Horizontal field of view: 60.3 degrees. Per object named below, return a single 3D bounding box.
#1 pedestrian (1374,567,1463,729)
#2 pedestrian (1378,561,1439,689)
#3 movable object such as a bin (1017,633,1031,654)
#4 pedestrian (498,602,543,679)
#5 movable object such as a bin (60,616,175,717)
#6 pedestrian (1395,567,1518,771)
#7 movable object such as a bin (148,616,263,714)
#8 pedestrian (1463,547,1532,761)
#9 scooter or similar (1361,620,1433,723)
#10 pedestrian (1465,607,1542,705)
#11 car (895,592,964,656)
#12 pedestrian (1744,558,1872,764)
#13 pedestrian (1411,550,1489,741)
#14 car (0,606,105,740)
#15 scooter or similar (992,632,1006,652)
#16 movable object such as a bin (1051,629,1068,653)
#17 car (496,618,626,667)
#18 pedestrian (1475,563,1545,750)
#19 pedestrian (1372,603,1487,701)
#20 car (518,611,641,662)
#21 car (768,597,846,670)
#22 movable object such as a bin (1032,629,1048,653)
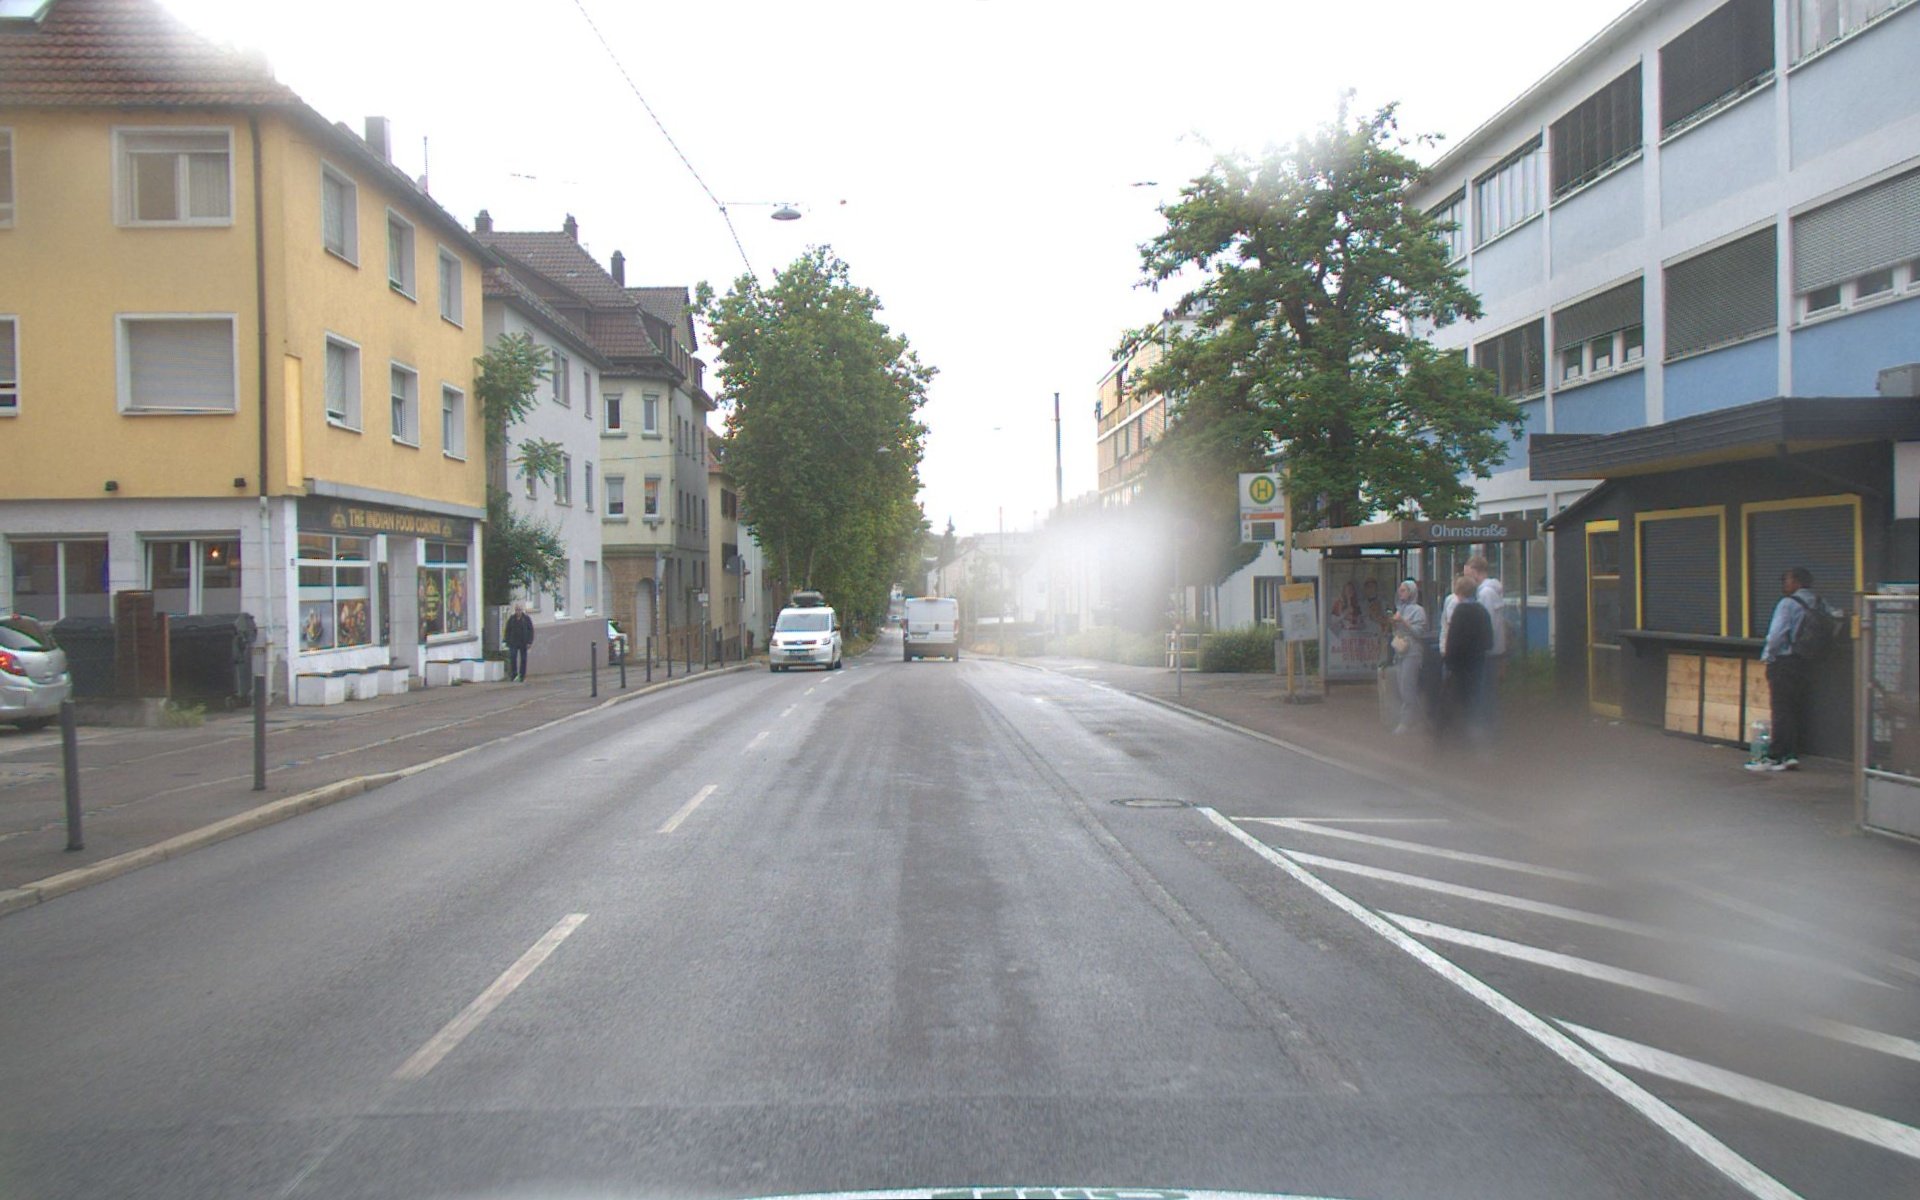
[{"bbox_3d":[5.209,0.536,18.839,0.648,1.772,0.828,-2,0,-7],"label":"pedestrian"},{"bbox_3d":[6.708,0.364,24.760,0.633,1.863,0.741,-2,0,-1],"label":"pedestrian"},{"bbox_3d":[3.087,2.099,79.544,0.607,0.953,0.686,-4,-1,-1],"label":"movable object such as a bin"},{"bbox_3d":[-9.980,0.918,37.595,0.799,1.709,0.992,0,-1,-4],"label":"pedestrian"},{"bbox_3d":[-12.629,0.978,24.825,1.221,1.465,0.983,0,0,-2],"label":"movable object such as a bin"},{"bbox_3d":[4.437,0.608,14.797,0.629,1.740,0.740,-3,0,-35],"label":"pedestrian"},{"bbox_3d":[-11.337,0.958,24.896,1.275,1.426,0.983,0,0,-2],"label":"movable object such as a bin"},{"bbox_3d":[4.949,0.483,15.208,0.476,1.907,0.633,-3,0,20],"label":"pedestrian"},{"bbox_3d":[5.157,0.833,19.541,0.606,1.160,0.567,-2,0,-7],"label":"scooter or similar"},{"bbox_3d":[7.002,0.712,21.342,0.648,1.220,0.740,-2,0,-7],"label":"pedestrian"},{"bbox_3d":[-1.176,0.843,60.869,2.300,2.198,4.774,-1,0,-4],"label":"car"},{"bbox_3d":[7.140,0.505,13.935,0.666,1.654,0.618,-3,0,-30],"label":"pedestrian"},{"bbox_3d":[4.958,0.453,16.763,0.450,1.872,0.603,-3,0,-7],"label":"pedestrian"},{"bbox_3d":[-12.570,0.827,19.923,3.494,1.512,1.946,1,0,-3],"label":"car"},{"bbox_3d":[2.329,2.523,98.417,0.593,1.182,1.697,-1,-2,-6],"label":"scooter or similar"},{"bbox_3d":[4.806,1.968,79.814,0.681,1.101,0.778,-4,-1,-1],"label":"movable object such as a bin"},{"bbox_3d":[-13.540,1.438,56.333,3.907,1.478,1.999,2,-1,-3],"label":"car"},{"bbox_3d":[5.255,0.527,15.823,0.437,1.737,0.558,-3,0,7],"label":"pedestrian"},{"bbox_3d":[6.558,0.716,23.153,1.329,1.295,0.740,-2,0,-7],"label":"pedestrian"},{"bbox_3d":[-14.193,1.364,61.915,4.098,1.734,1.999,2,-1,-2],"label":"car"},{"bbox_3d":[-4.293,0.942,46.869,1.844,1.902,4.451,-2,-1,-1],"label":"car"},{"bbox_3d":[3.847,1.967,79.731,0.681,1.101,0.778,-4,-1,-1],"label":"movable object such as a bin"}]
